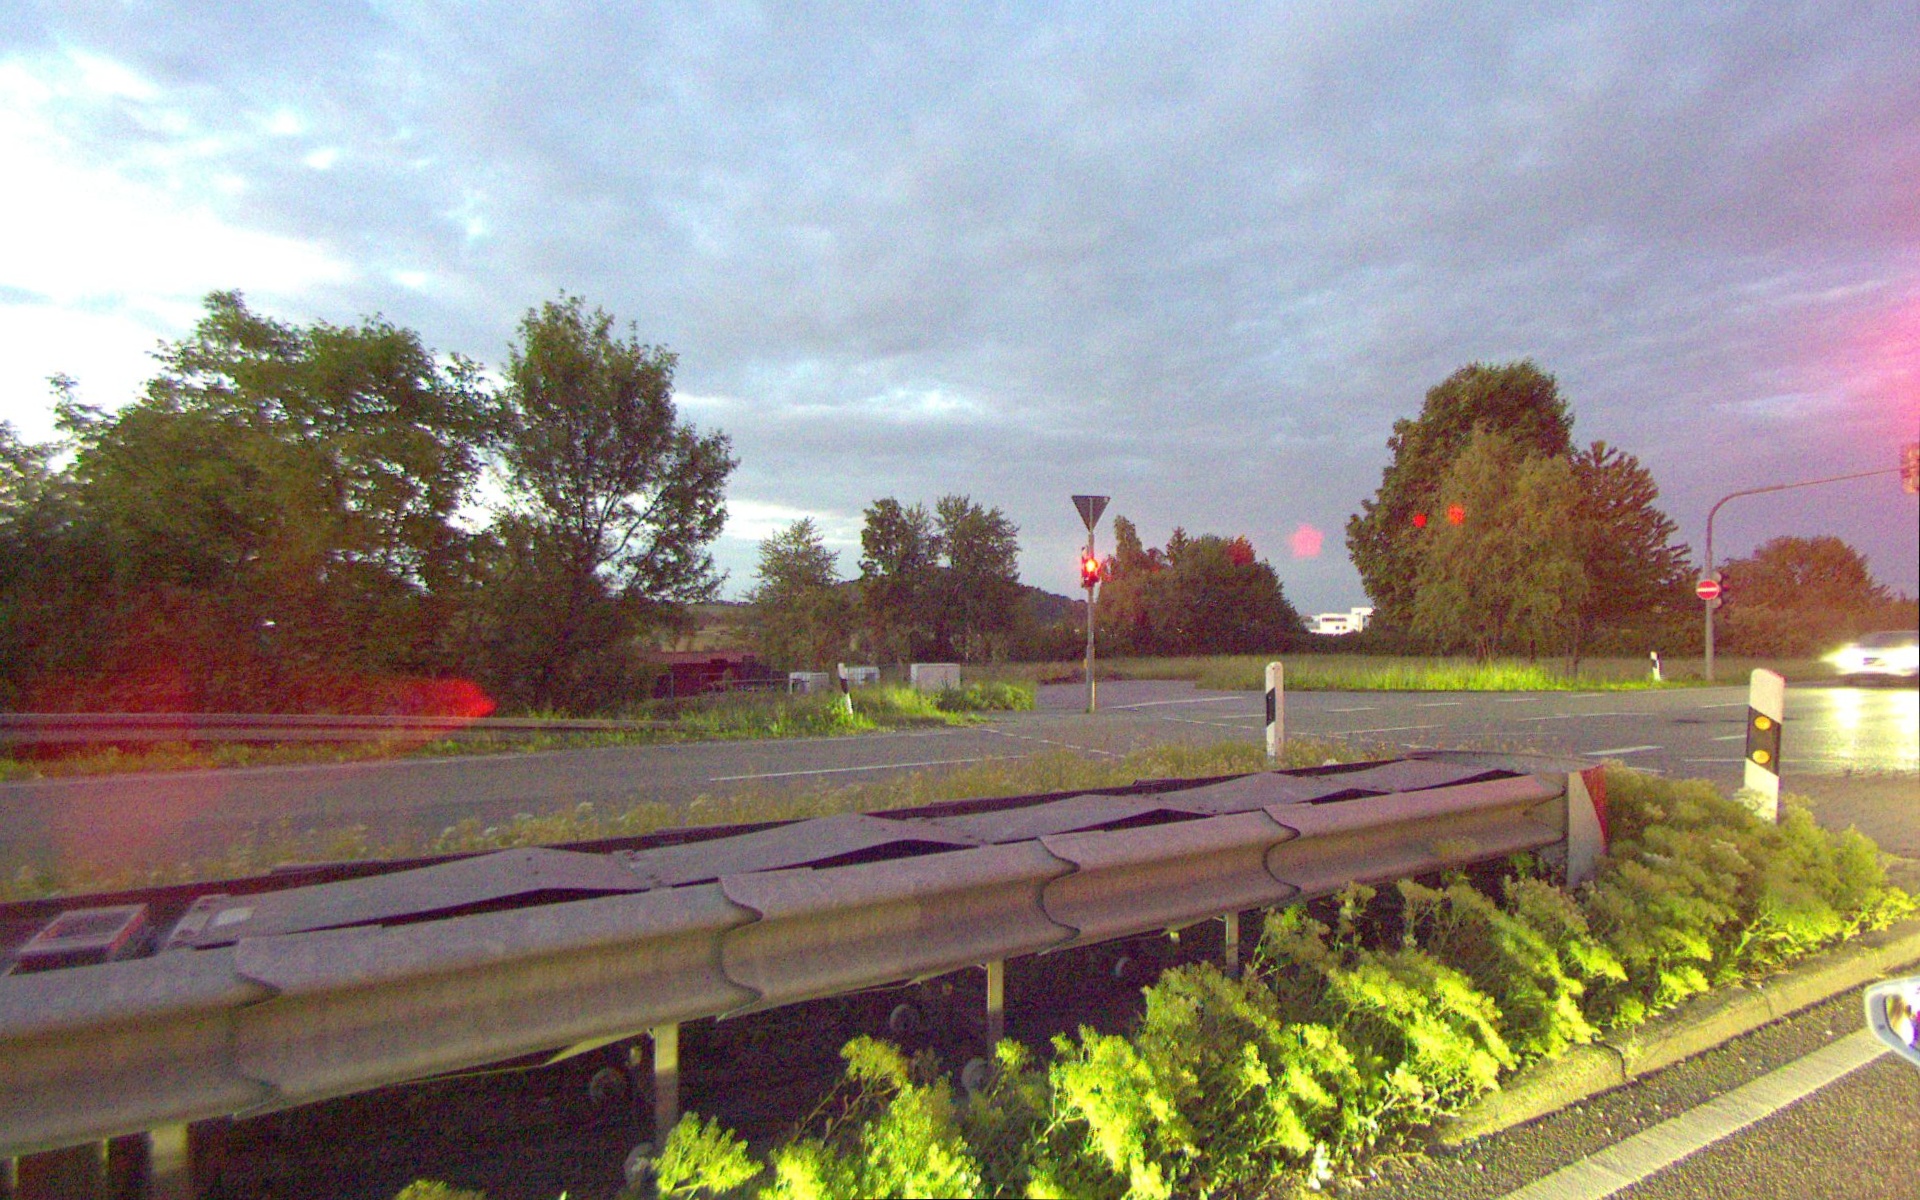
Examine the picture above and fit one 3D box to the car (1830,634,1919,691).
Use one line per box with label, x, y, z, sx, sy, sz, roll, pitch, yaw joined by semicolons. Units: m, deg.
car;27.770;1.789;29.582;4.247;1.539;1.984;1;-2;-30
